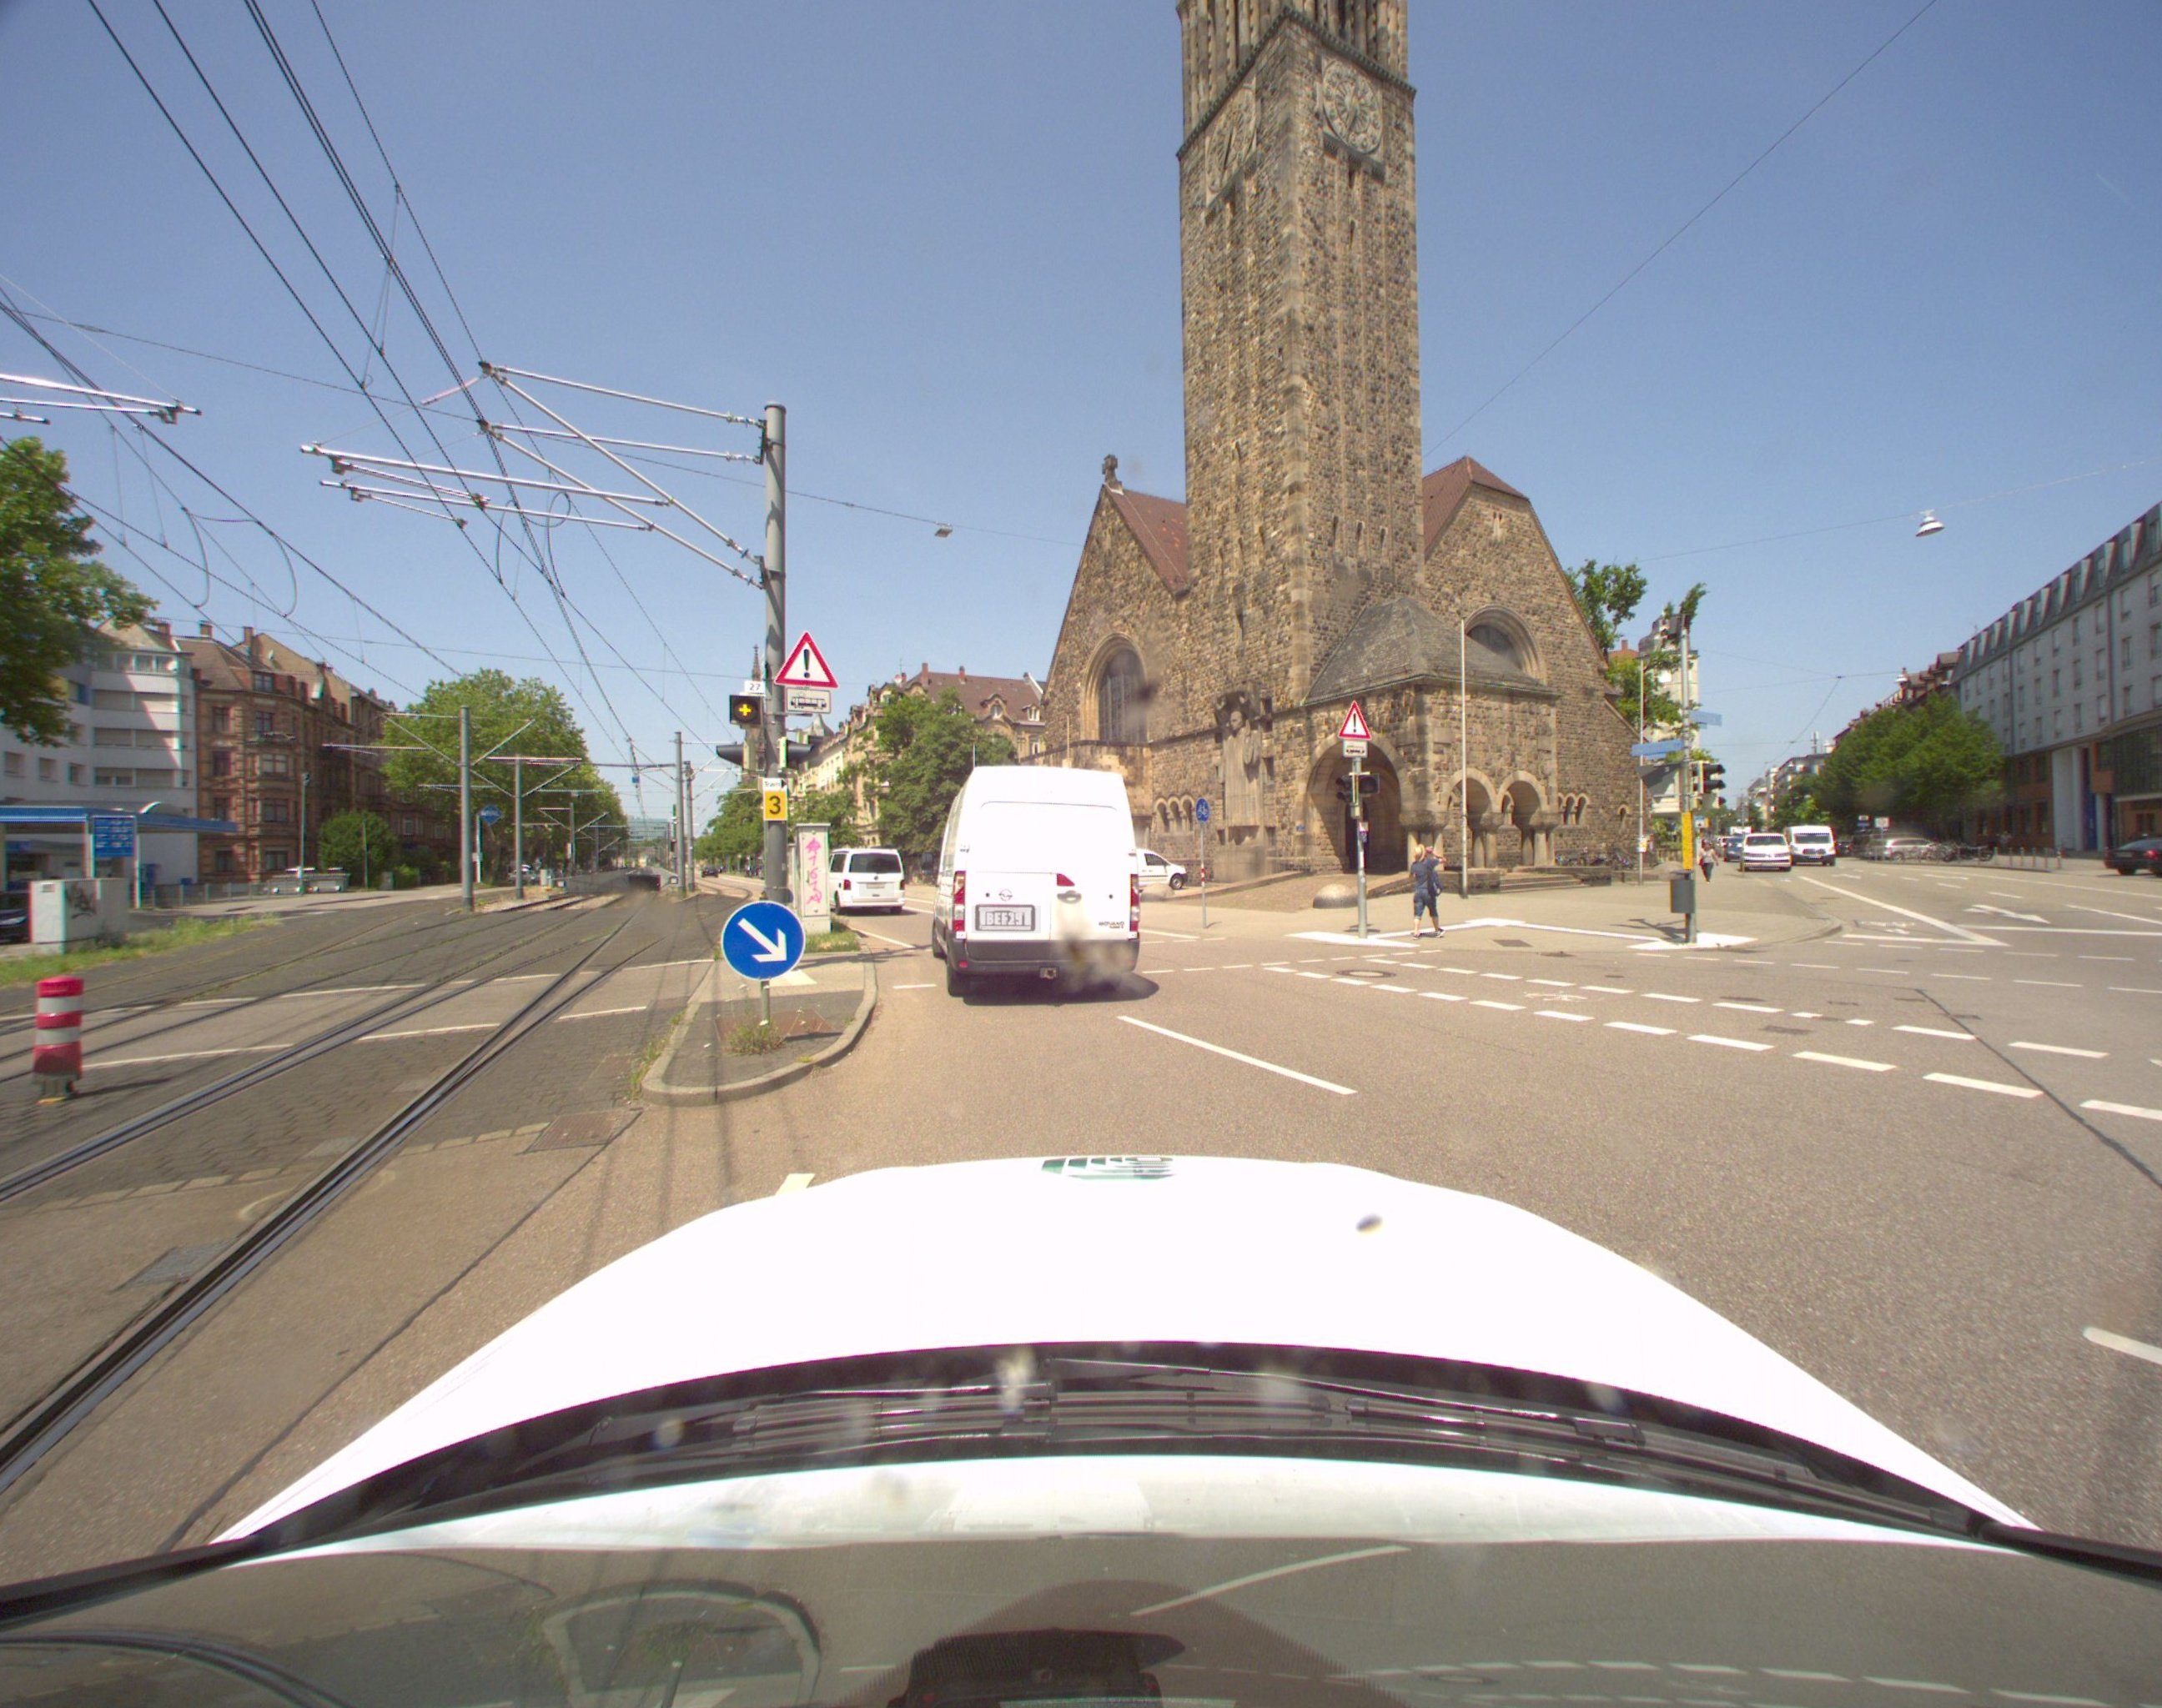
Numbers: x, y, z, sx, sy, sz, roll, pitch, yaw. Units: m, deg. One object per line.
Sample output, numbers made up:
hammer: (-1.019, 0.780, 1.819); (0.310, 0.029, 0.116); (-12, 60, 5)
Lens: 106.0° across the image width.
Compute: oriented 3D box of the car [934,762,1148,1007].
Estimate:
car: (-0.831, 0.336, 10.881); (2.118, 2.459, 5.034); (0, -1, -12)

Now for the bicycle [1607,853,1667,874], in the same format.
bicycle: (27.865, 0.452, 40.860); (0.707, 1.011, 2.477); (-1, 0, -26)

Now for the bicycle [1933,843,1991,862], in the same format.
bicycle: (56.731, -0.093, 52.467); (2.571, 1.175, 0.685); (-1, -1, 15)

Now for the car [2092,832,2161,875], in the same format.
car: (42.157, -0.036, 31.979); (3.215, 1.575, 1.612); (-2, -3, -9)

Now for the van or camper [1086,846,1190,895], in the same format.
van or camper: (2.409, 0.641, 34.190); (4.012, 1.825, 1.786); (-2, 3, -30)

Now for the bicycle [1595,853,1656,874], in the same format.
bicycle: (26.871, 0.471, 40.274); (0.707, 1.011, 2.477); (-1, 0, -26)

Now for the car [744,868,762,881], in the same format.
car: (-41.688, 2.540, 103.354); (1.760, 1.578, 3.724); (0, -1, -28)

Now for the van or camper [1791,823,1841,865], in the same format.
van or camper: (45.095, -0.598, 50.078); (2.047, 2.461, 5.939); (-1, 0, 40)

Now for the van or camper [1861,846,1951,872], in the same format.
van or camper: (61.233, 0.389, 60.524); (4.285, 1.838, 2.006); (-1, 0, 11)

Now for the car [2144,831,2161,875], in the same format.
car: (40.763, -0.084, 29.480); (3.219, 1.575, 1.489); (-1, -3, -13)

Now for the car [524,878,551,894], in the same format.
car: (-58.727, 3.435, 88.038); (1.857, 1.625, 4.561); (-2, 0, -27)

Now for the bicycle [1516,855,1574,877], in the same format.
bicycle: (22.567, 0.566, 39.630); (0.707, 1.011, 2.477); (-1, 0, -26)

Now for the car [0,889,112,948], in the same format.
car: (-29.163, 1.772, 22.605); (1.606, 1.420, 3.747); (-2, 0, -28)

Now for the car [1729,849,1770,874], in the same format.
car: (48.440, 0.532, 58.989); (1.975, 1.728, 4.023); (-1, -1, 44)

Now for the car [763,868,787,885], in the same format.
car: (-31.057, 2.237, 82.610); (1.760, 1.706, 3.724); (0, -1, -28)

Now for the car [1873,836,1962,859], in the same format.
car: (58.142, -0.443, 56.660); (3.958, 1.549, 1.756); (-1, -1, 14)

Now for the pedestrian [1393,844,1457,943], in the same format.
pedestrian: (6.544, 0.729, 15.524); (0.745, 1.822, 0.827); (0, -1, -21)

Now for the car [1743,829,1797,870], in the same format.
car: (35.682, -0.219, 42.266); (2.019, 2.004, 4.999); (-1, -1, 39)

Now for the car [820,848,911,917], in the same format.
car: (-6.777, 0.834, 25.268); (1.927, 1.944, 4.227); (0, -1, -26)

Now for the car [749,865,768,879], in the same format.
car: (-38.626, 2.167, 97.417); (1.760, 1.578, 3.724); (0, -1, -28)

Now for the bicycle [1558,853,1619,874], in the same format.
bicycle: (24.704, 0.456, 39.696); (0.707, 1.011, 2.477); (-1, 0, -26)

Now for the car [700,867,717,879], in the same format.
car: (-48.193, 2.489, 105.338); (1.760, 1.539, 3.723); (0, -1, -29)

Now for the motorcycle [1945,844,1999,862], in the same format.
motorcycle: (52.617, -0.069, 48.084); (0.746, 0.958, 2.055); (-3, 1, -35)

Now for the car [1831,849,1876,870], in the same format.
car: (66.585, 0.446, 70.224); (1.935, 1.750, 4.025); (-1, 0, 31)

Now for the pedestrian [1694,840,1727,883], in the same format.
pedestrian: (23.075, 0.270, 29.859); (0.795, 1.559, 0.713); (0, -1, -35)
